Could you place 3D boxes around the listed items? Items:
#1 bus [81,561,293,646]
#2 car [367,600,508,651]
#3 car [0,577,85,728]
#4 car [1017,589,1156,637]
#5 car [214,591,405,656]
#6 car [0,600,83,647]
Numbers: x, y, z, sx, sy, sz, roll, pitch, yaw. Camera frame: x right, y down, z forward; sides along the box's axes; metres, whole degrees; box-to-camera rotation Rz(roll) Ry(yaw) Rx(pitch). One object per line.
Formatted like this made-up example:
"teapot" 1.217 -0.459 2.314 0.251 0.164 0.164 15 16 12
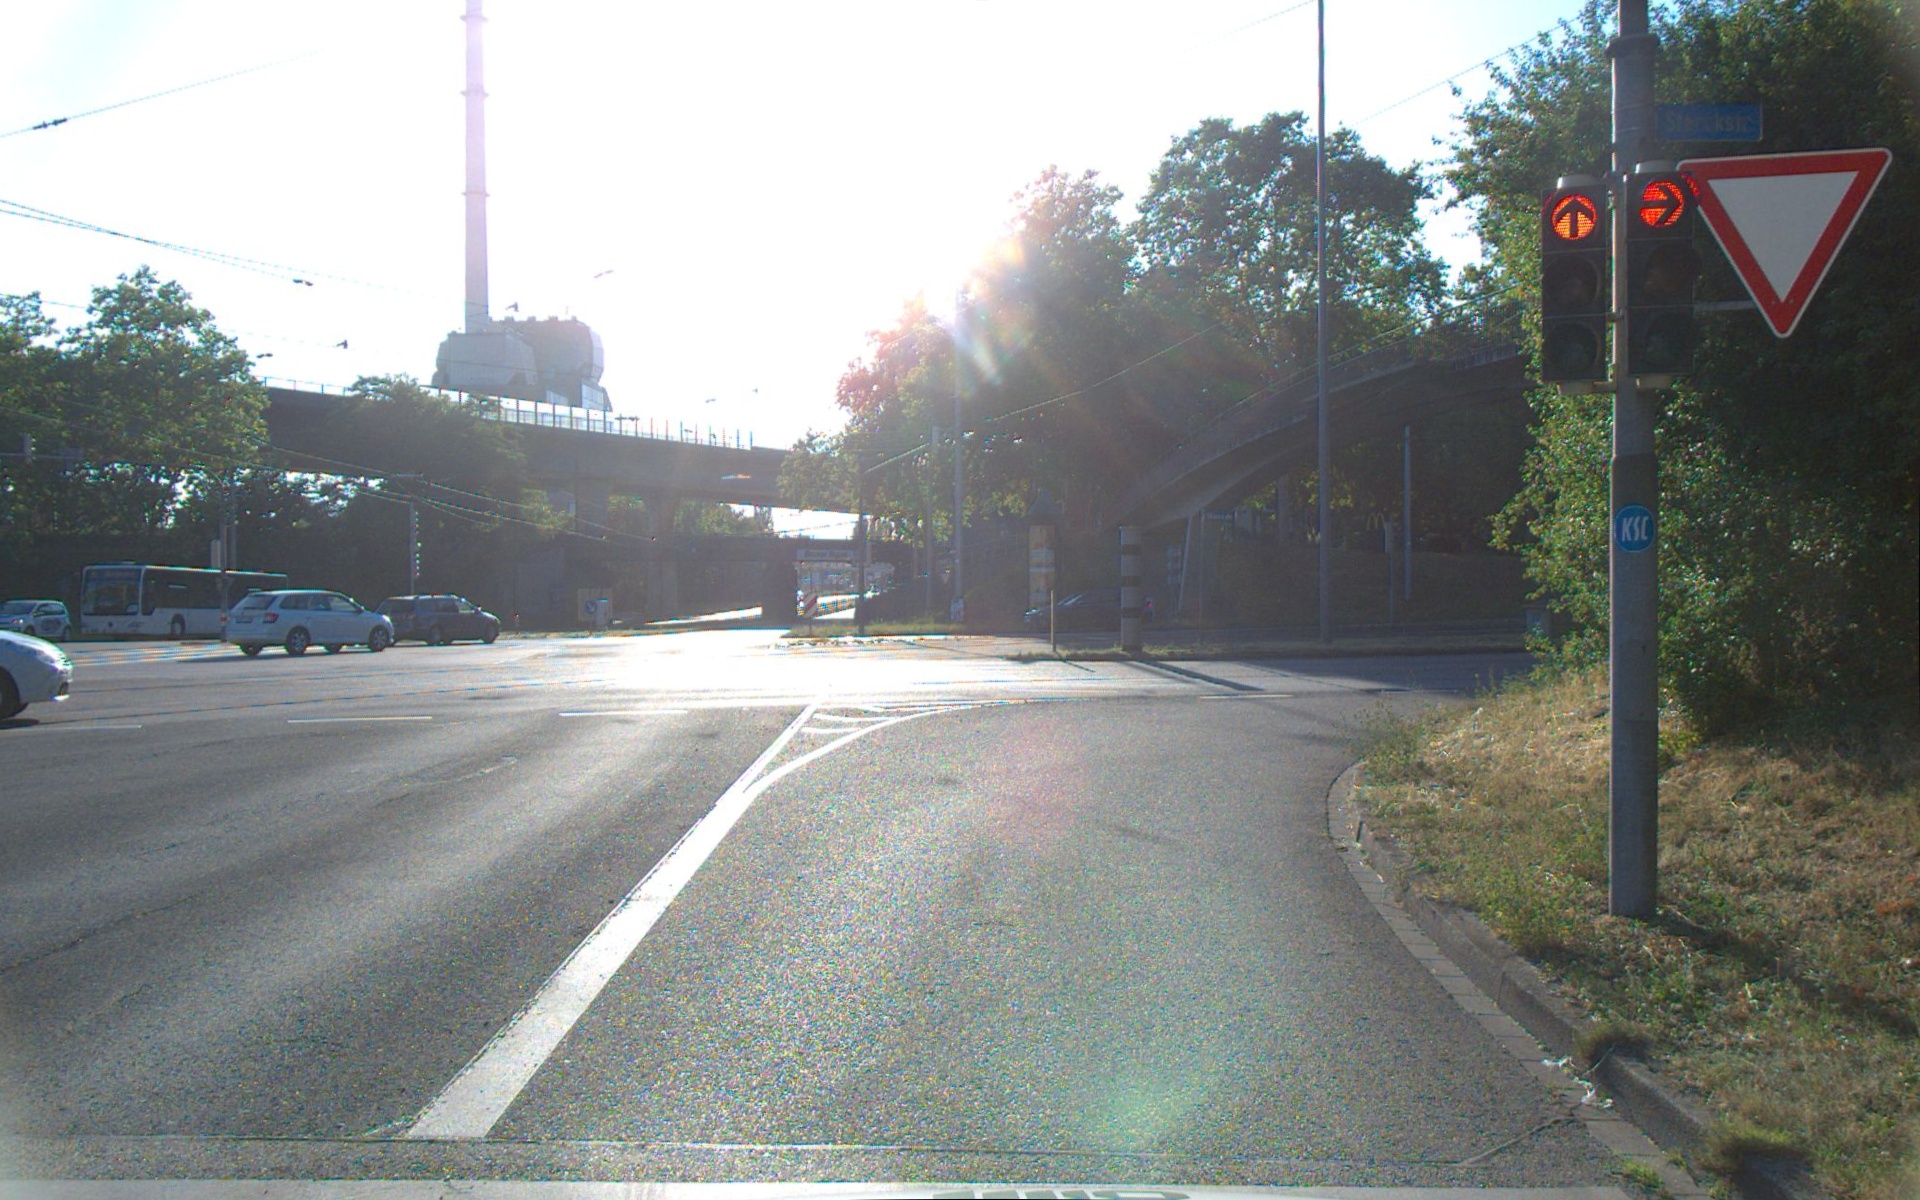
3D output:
"bus" -31.997 0.266 69.364 2.491 3.185 12.919 -1 -1 2
"car" -15.543 0.737 49.407 1.631 1.429 4.446 1 0 20
"car" -11.734 0.548 17.799 3.932 1.602 1.682 0 0 -23
"car" 4.375 0.460 57.086 4.505 1.602 1.685 1 0 -18
"car" -15.341 0.526 39.220 1.633 1.429 4.192 1 0 27
"car" -32.153 0.790 57.278 1.574 1.538 4.006 1 0 -3
